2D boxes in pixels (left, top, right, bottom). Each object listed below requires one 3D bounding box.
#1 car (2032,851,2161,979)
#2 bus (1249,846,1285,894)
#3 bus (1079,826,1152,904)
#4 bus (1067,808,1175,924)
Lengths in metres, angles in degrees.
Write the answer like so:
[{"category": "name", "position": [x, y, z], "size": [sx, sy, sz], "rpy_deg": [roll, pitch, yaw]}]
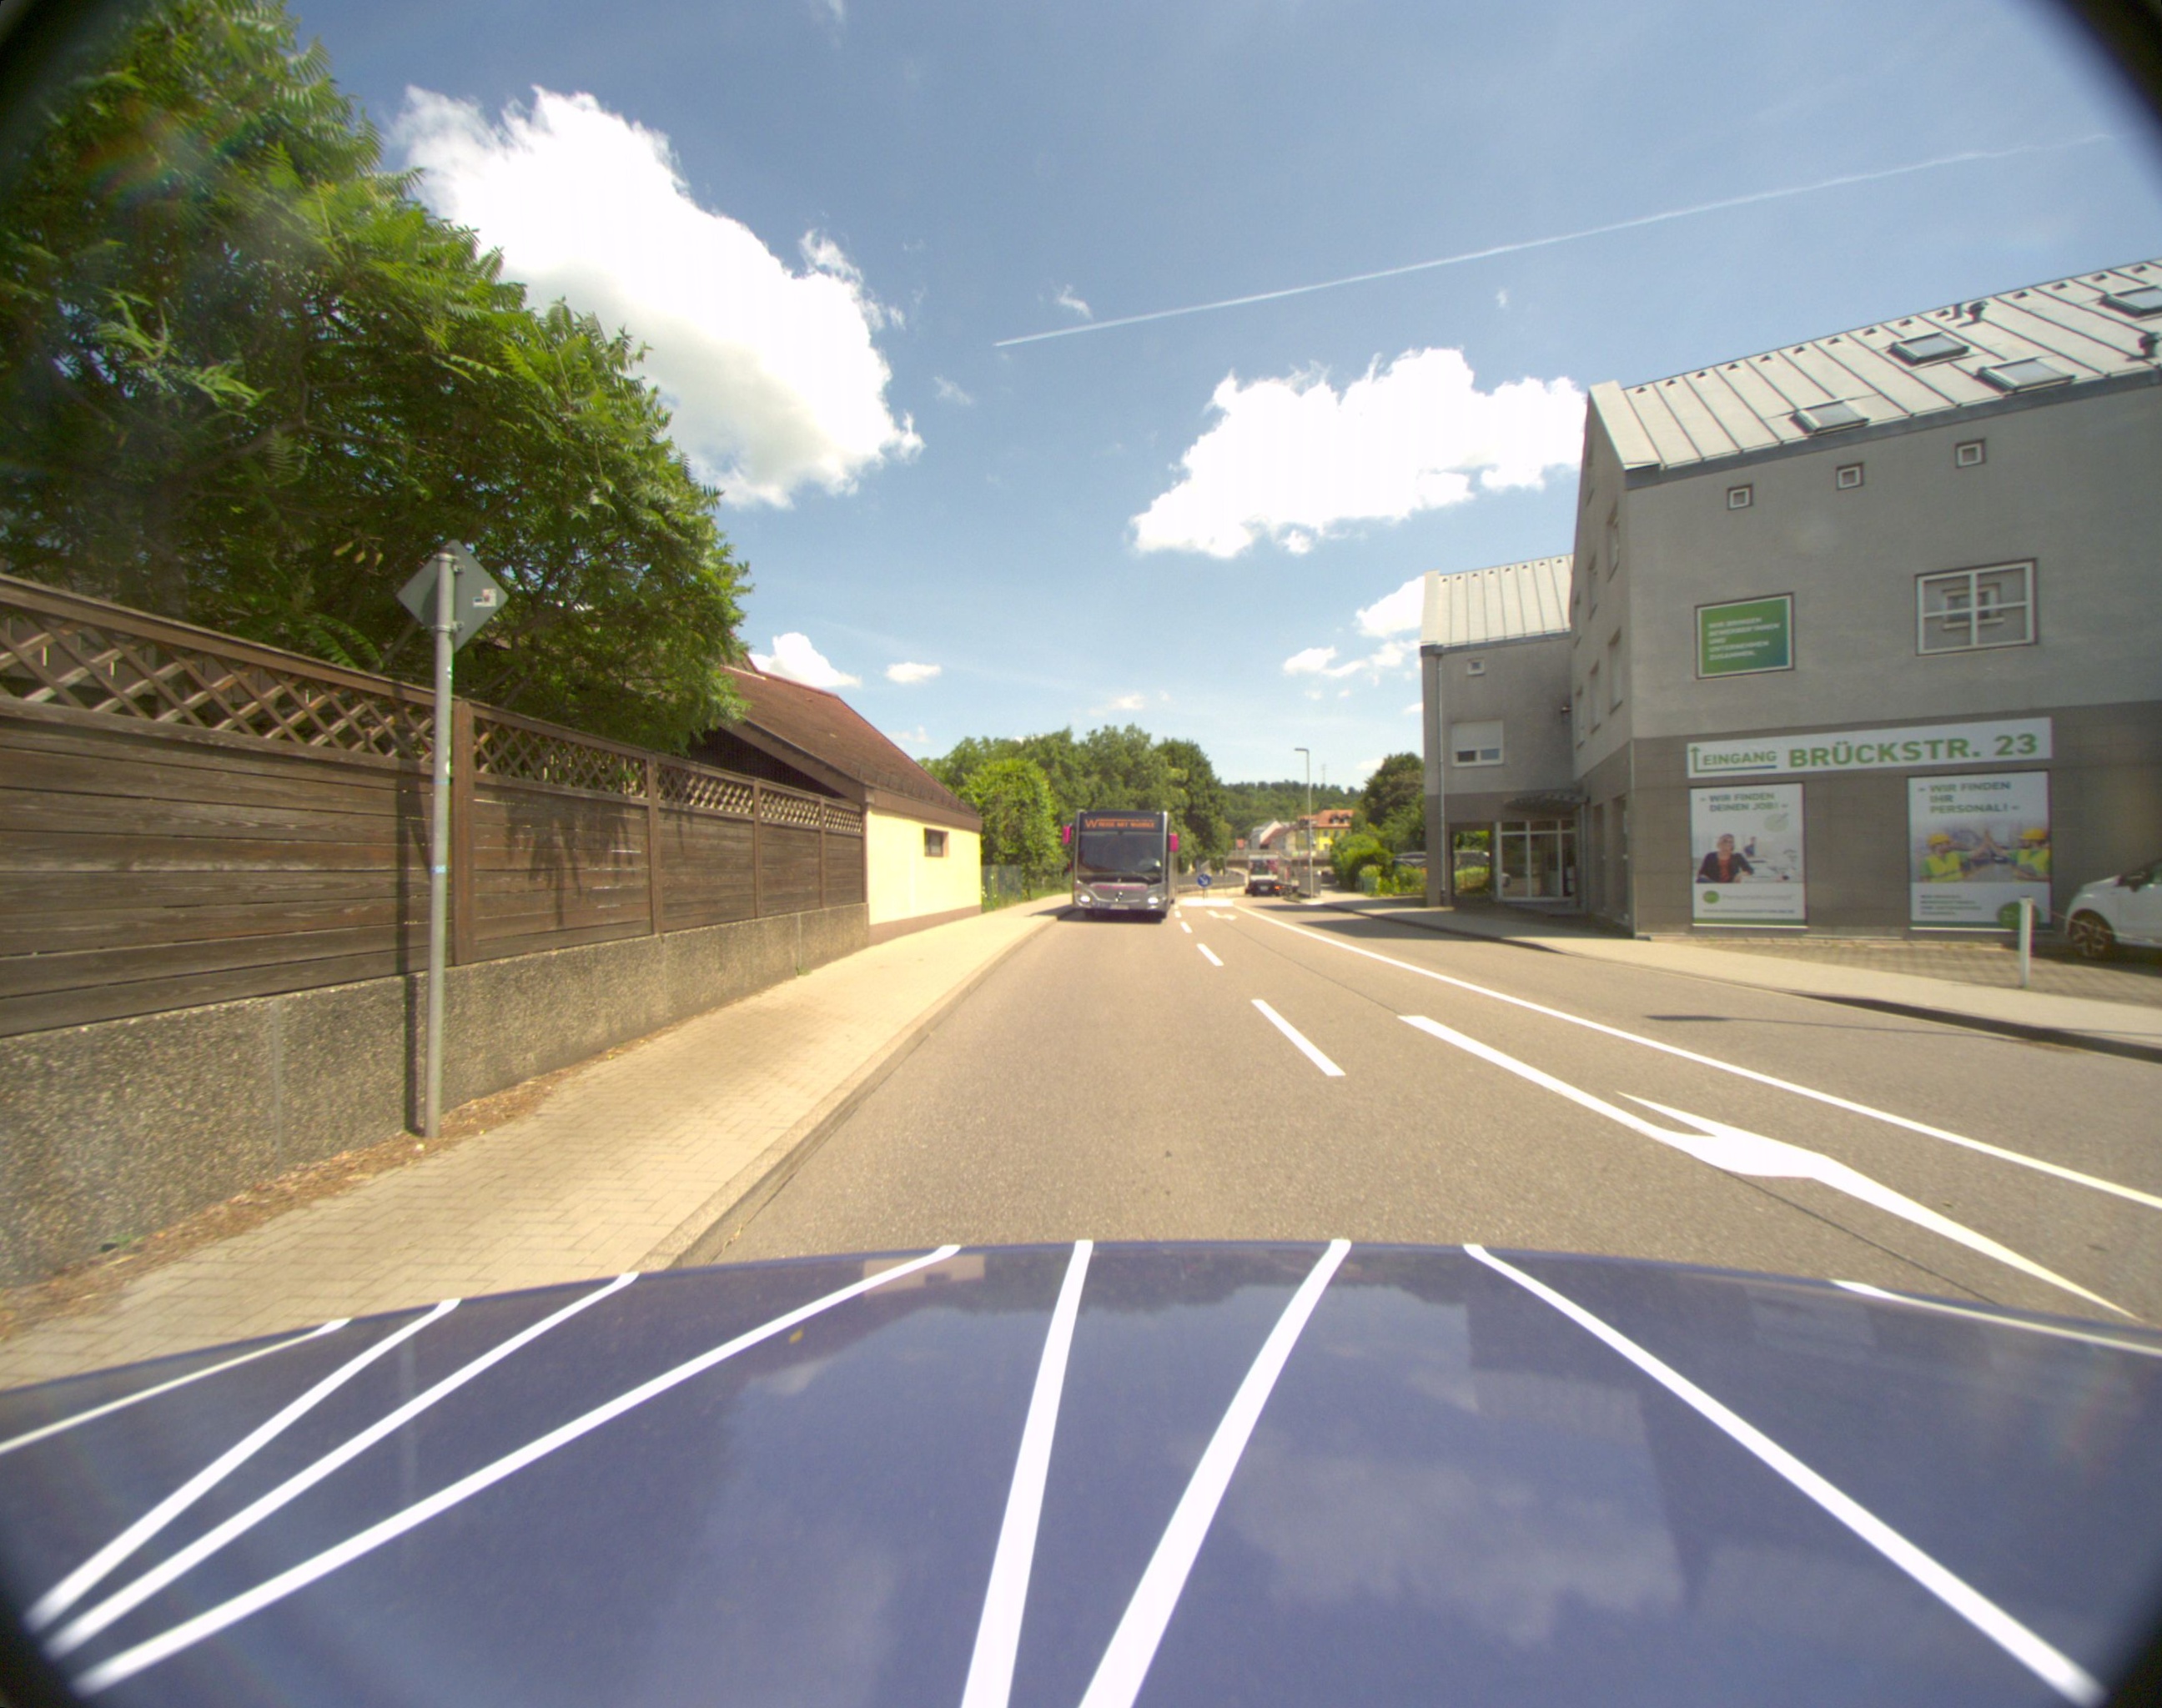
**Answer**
[{"category": "car", "position": [14.018, 0.734, 8.755], "size": [1.995, 1.565, 4.260], "rpy_deg": [0, -1, 22]}, {"category": "bus", "position": [16.919, 1.542, 69.165], "size": [2.815, 3.976, 10.983], "rpy_deg": [-1, -2, 14]}, {"category": "bus", "position": [1.449, 0.591, 33.544], "size": [2.755, 2.948, 9.285], "rpy_deg": [0, -2, 2]}, {"category": "bus", "position": [1.227, 0.487, 24.181], "size": [2.755, 2.948, 9.286], "rpy_deg": [0, -2, 2]}]
